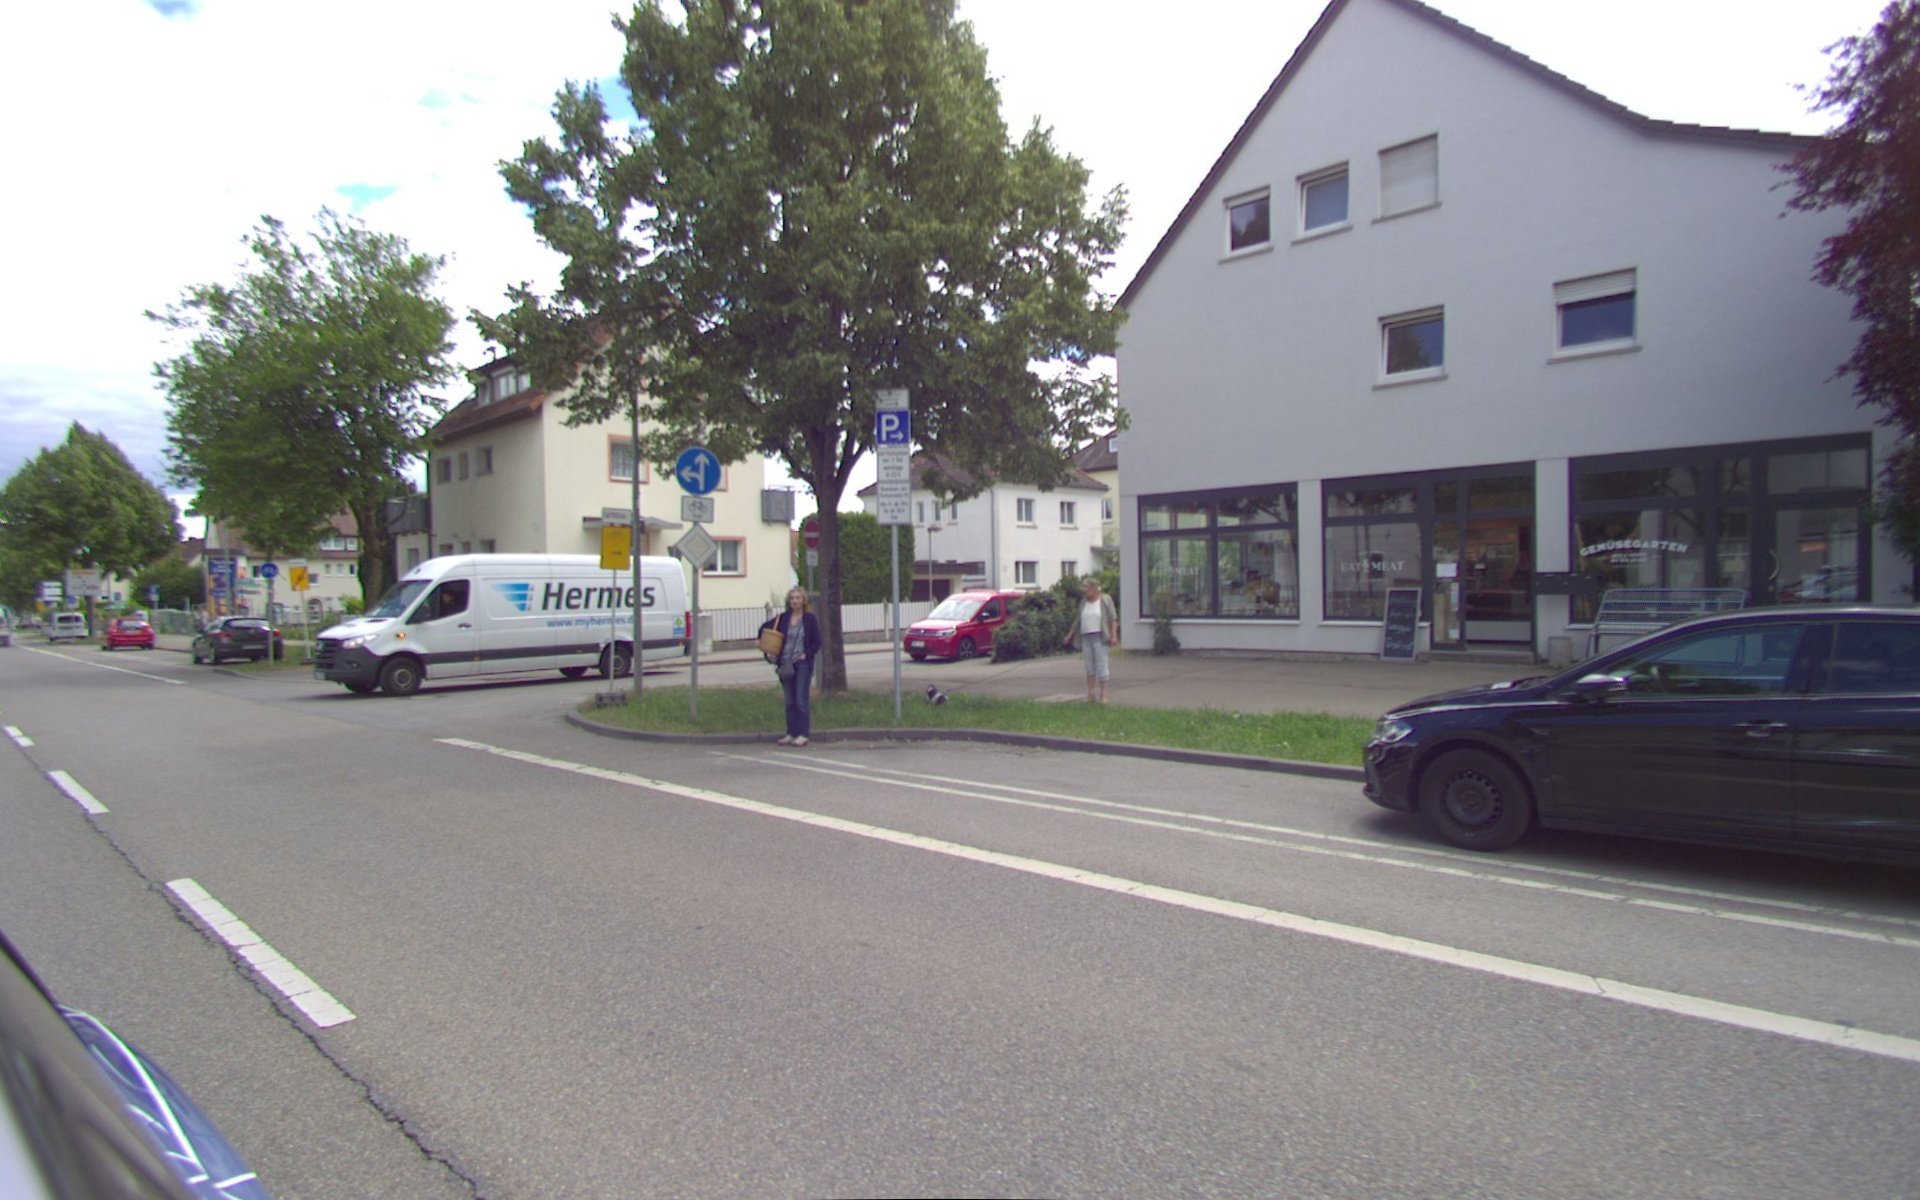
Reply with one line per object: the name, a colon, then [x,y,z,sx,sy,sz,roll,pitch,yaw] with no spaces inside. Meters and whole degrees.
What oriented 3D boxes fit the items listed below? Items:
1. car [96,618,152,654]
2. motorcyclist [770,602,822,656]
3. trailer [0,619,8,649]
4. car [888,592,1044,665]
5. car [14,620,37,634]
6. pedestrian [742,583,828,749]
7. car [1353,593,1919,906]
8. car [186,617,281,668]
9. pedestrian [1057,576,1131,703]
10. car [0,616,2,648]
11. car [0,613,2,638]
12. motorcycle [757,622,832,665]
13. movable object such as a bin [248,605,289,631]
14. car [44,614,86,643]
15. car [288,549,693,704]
car: [-39.108,1.667,47.331,1.666,1.553,4.134,0,-1,-45]
motorcyclist: [-4.291,0.747,26.474,0.753,1.375,1.094,-1,0,41]
trailer: [-55.288,1.940,57.182,4.689,1.689,1.917,-1,0,43]
car: [0.236,0.688,27.034,1.871,1.791,4.304,1,1,39]
car: [-112.101,3.256,121.365,4.049,1.648,1.727,-2,0,44]
pedestrian: [-1.885,0.693,10.886,0.535,1.693,0.751,-3,0,-38]
car: [4.503,0.693,5.615,4.019,1.431,1.625,-1,-1,42]
car: [-22.816,1.290,31.702,4.303,1.480,1.711,-2,-1,44]
pedestrian: [1.702,0.491,12.900,0.806,1.563,0.425,-1,0,43]
car: [-58.742,1.942,60.442,4.819,1.844,1.945,-1,0,43]
car: [-104.650,2.771,109.006,1.996,2.694,5.809,-1,0,-45]
motorcycle: [-4.300,1.117,26.476,0.480,1.039,2.090,-1,0,41]
movable object such as a bin: [-59.692,1.562,87.354,4.361,2.204,1.876,-1,0,42]
car: [-58.020,1.842,65.586,1.750,1.784,4.554,-1,0,-45]
car: [-9.138,0.431,20.581,2.218,2.614,7.216,-1,0,39]
